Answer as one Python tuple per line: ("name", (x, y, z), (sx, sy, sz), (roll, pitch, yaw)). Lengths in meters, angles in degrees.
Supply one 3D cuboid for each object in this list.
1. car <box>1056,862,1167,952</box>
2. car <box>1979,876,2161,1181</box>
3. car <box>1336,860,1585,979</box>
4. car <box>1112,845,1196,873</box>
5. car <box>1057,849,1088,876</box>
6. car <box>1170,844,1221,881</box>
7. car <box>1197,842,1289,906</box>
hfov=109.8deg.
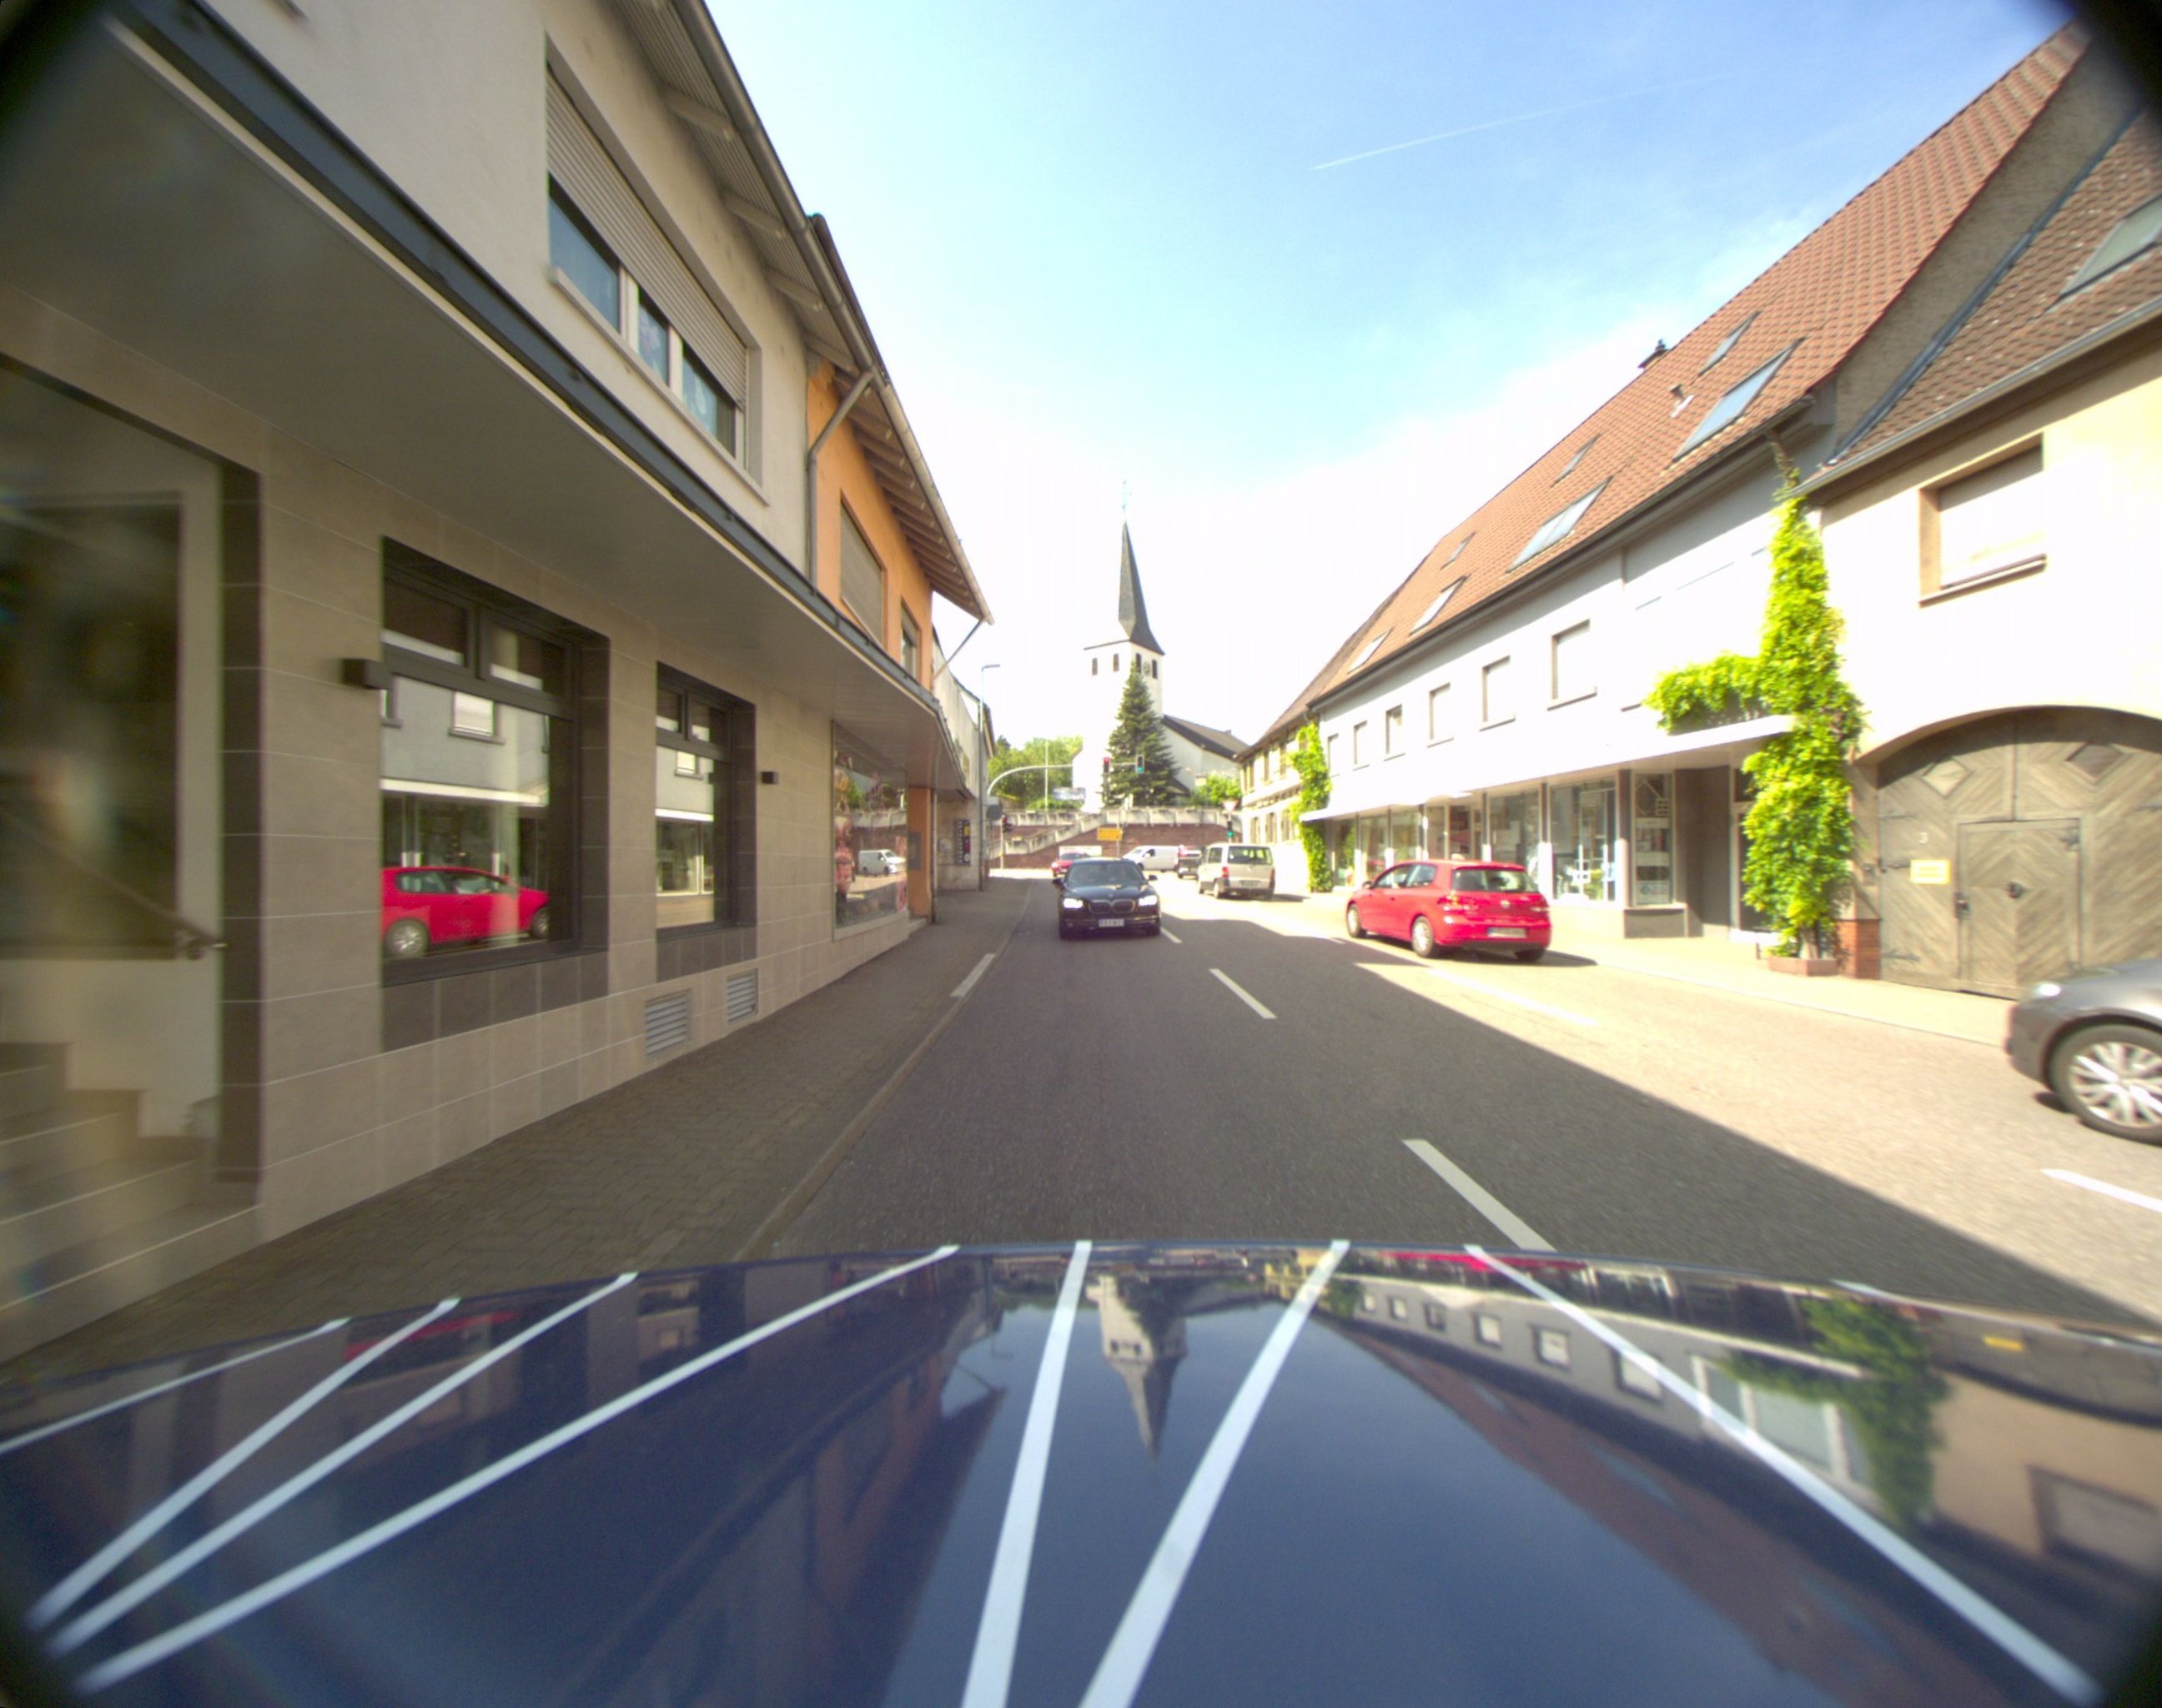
("car", (0.441, 0.895, 14.634), (1.825, 1.426, 4.247), (0, 0, -2))
("car", (6.294, 0.924, 2.594), (1.633, 1.511, 4.019), (1, 0, 0))
("car", (5.720, 0.887, 12.124), (1.763, 1.484, 4.075), (1, 0, -3))
("car", (5.213, 0.372, 53.741), (5.601, 1.880, 2.289), (1, 1, -30))
("car", (-0.519, 0.461, 43.713), (1.697, 1.429, 4.265), (1, 0, -1))
("car", (6.806, 0.482, 44.598), (2.161, 1.912, 5.172), (3, 0, 17))
("car", (5.288, 0.601, 25.414), (1.888, 1.880, 4.550), (2, 0, -2))
